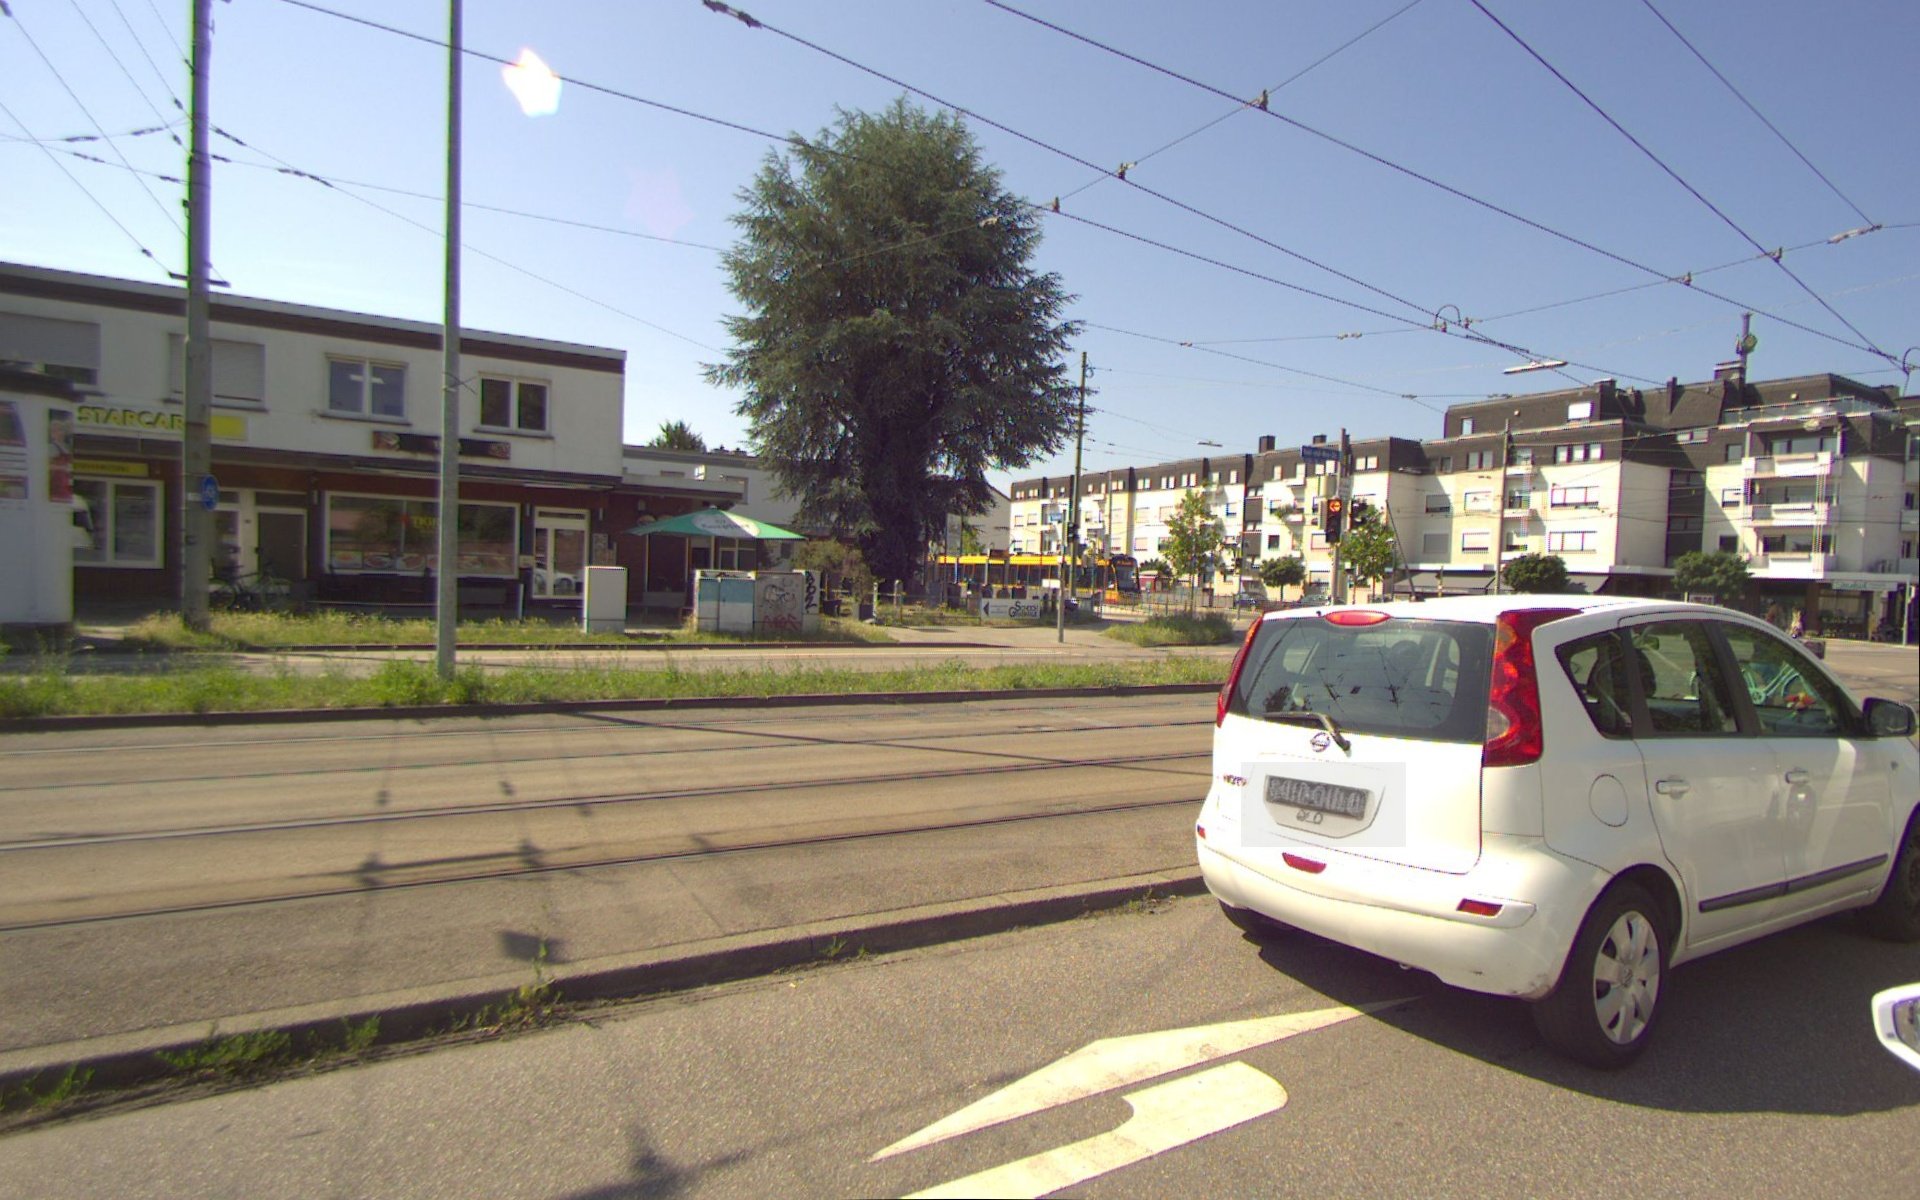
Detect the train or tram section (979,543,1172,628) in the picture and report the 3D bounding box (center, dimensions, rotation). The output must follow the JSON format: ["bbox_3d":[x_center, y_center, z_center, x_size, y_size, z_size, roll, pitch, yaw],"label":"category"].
[{"bbox_3d":[7.617,-0.905,70.967,4.681,5.217,16.121,2,-1,-30],"label":"train or tram section"}]

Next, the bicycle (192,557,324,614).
[{"bbox_3d":[-15.511,-0.296,22.278,2.306,1.167,0.783,2,-1,-30],"label":"bicycle"}]

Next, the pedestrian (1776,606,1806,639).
[{"bbox_3d":[46.198,1.250,55.851,0.955,1.766,0.865,2,-1,5],"label":"pedestrian"}]

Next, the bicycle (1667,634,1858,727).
[{"bbox_3d":[11.285,1.093,14.186,0.705,1.105,1.999,1,2,-44],"label":"bicycle"}]

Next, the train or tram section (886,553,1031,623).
[{"bbox_3d":[-0.550,-0.938,84.890,4.681,5.217,16.121,2,-1,-30],"label":"train or tram section"}]

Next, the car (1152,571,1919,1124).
[{"bbox_3d":[2.848,0.720,4.555,3.759,1.587,1.634,0,0,-31],"label":"car"}]

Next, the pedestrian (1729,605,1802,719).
[{"bbox_3d":[11.691,0.869,14.573,0.671,1.593,0.738,0,1,-45],"label":"pedestrian"}]

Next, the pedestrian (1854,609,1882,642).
[{"bbox_3d":[50.485,1.423,55.843,0.957,1.766,0.863,1,-1,28],"label":"pedestrian"}]
